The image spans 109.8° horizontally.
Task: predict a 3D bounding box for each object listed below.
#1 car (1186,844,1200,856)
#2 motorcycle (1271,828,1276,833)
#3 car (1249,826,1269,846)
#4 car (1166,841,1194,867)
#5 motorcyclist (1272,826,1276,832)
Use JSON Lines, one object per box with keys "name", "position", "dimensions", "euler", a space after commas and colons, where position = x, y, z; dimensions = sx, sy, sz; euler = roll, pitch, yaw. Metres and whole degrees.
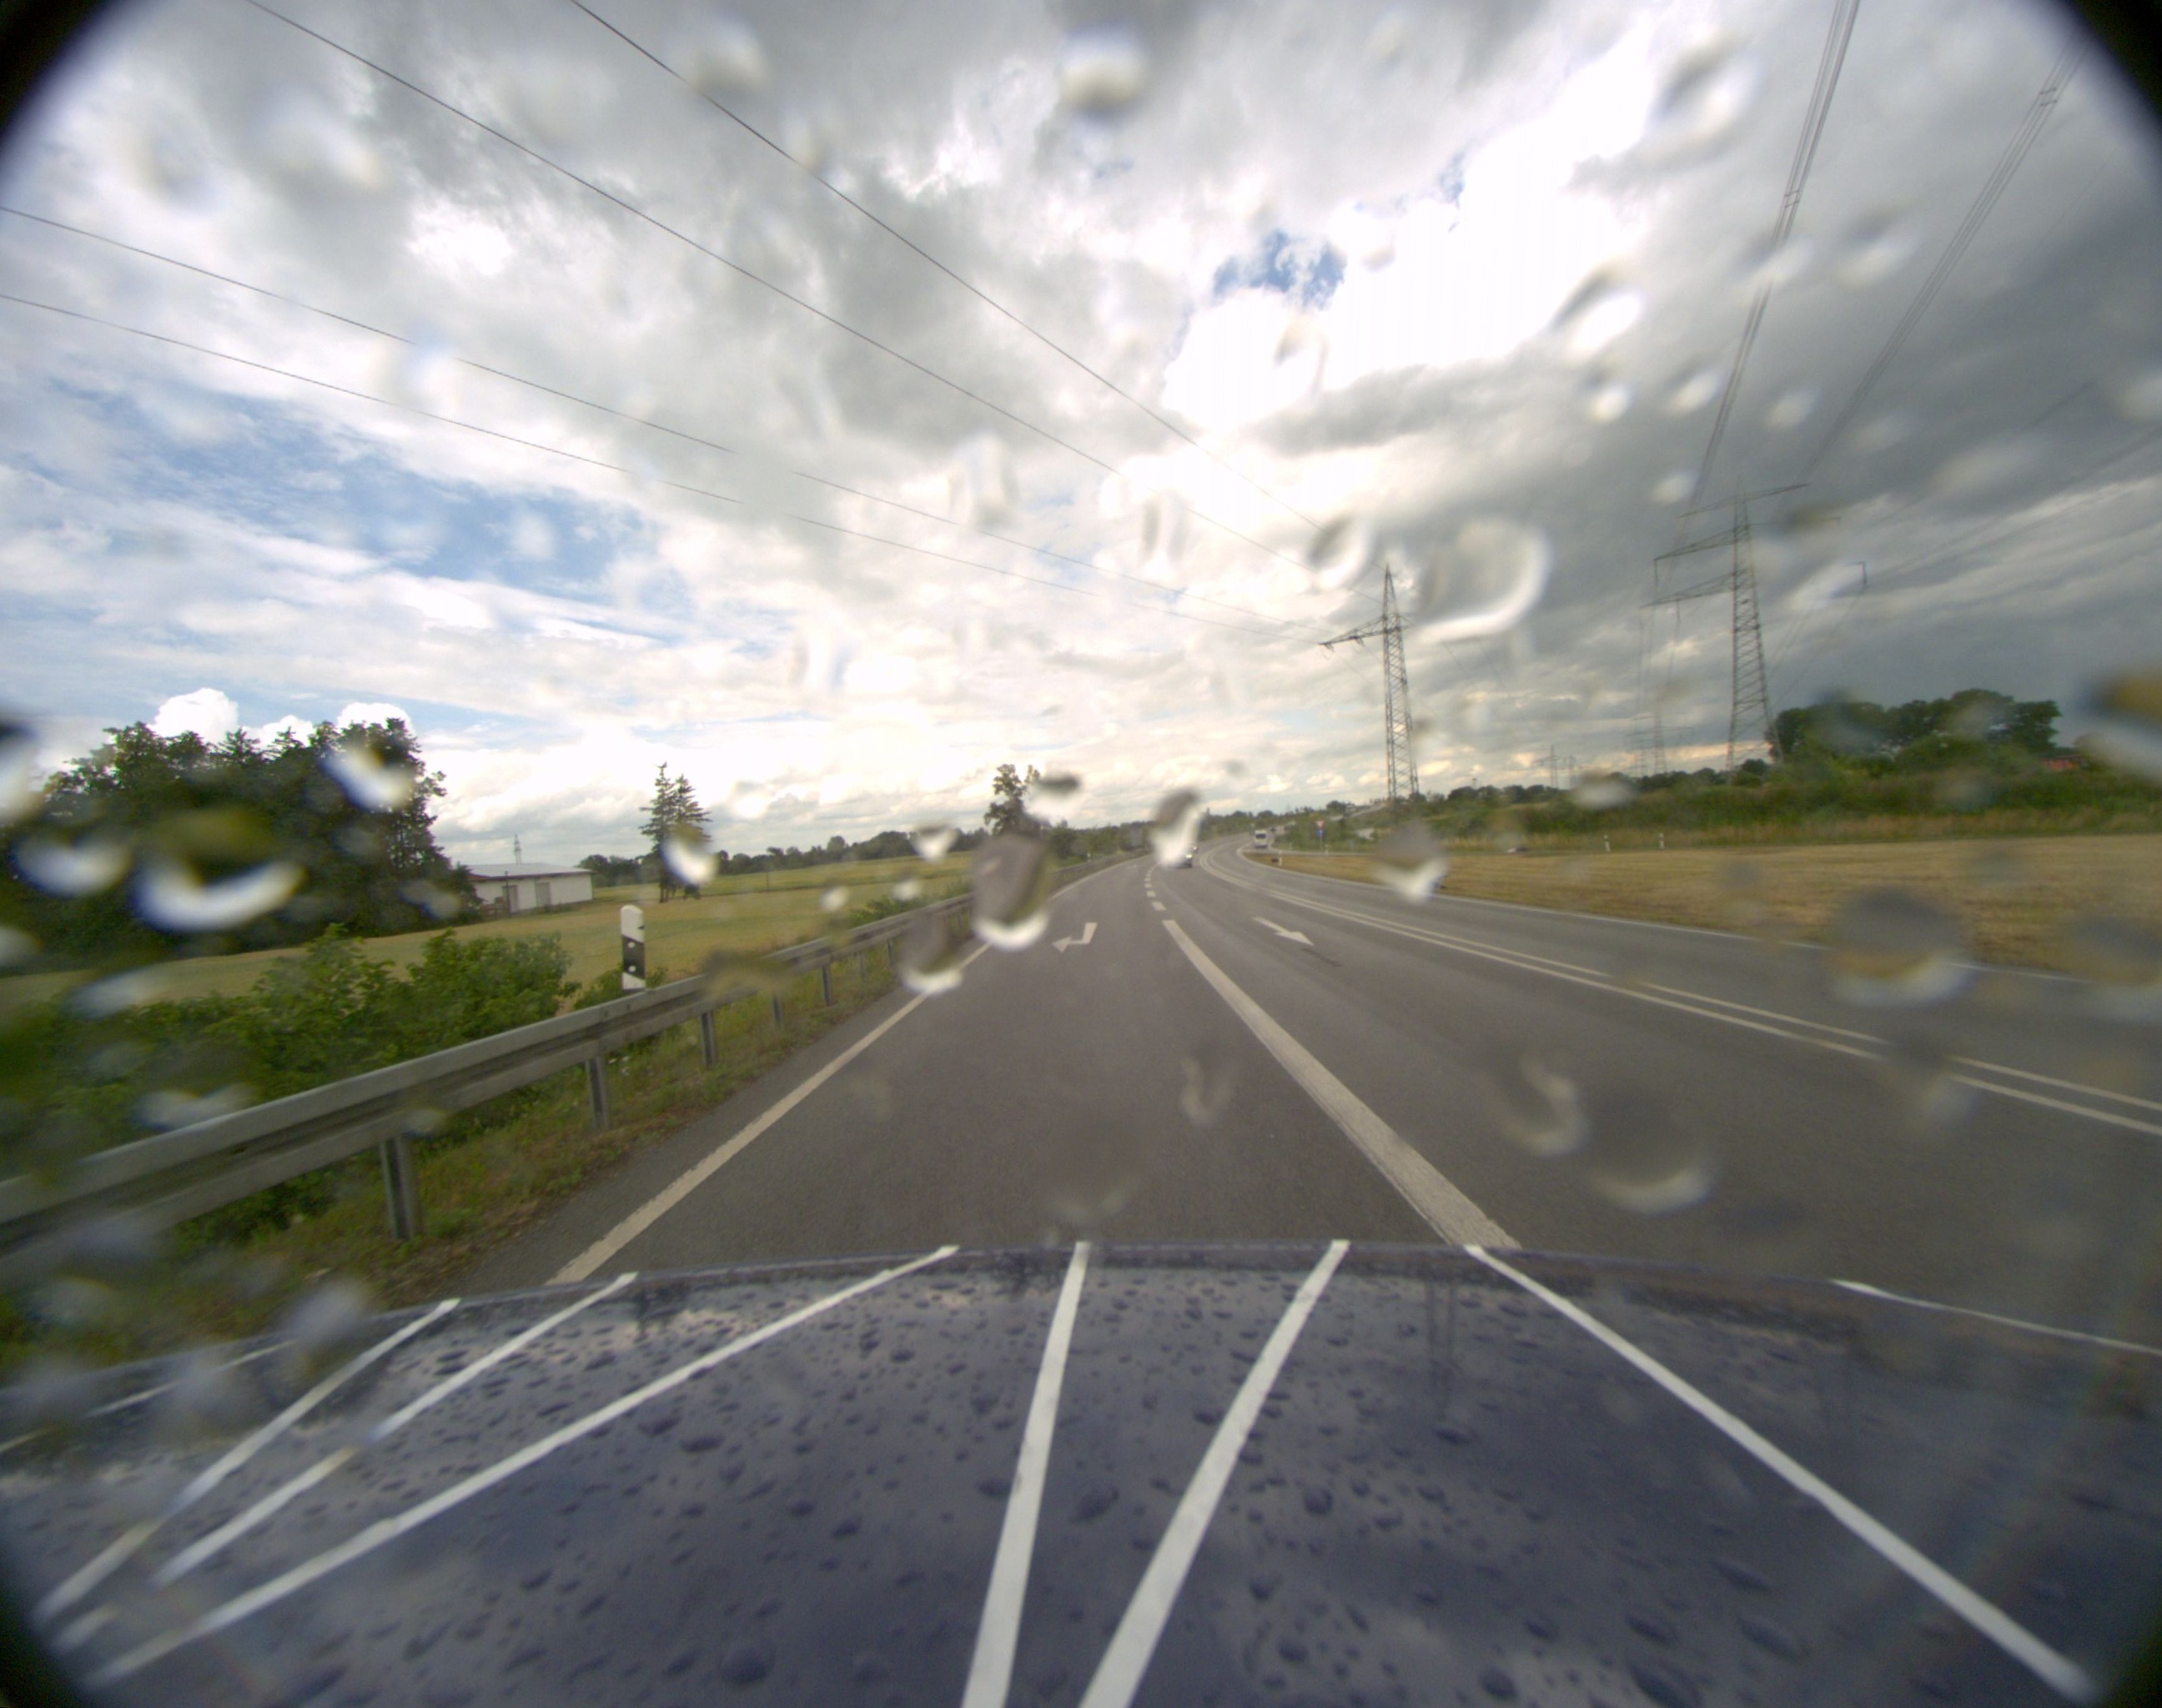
{"name": "car", "position": [14.991, -0.559, 101.848], "dimensions": [1.747, 1.488, 4.051], "euler": [-3, 1, 9]}
{"name": "motorcycle", "position": [48.287, -5.882, 190.362], "dimensions": [0.803, 1.231, 2.188], "euler": [-2, 1, 21]}
{"name": "car", "position": [26.747, -2.710, 114.147], "dimensions": [2.211, 2.734, 6.023], "euler": [-3, 2, 8]}
{"name": "car", "position": [7.444, -0.063, 57.419], "dimensions": [1.795, 1.759, 4.000], "euler": [-3, 1, 5]}
{"name": "motorcyclist", "position": [48.247, -6.319, 190.316], "dimensions": [0.803, 1.526, 0.825], "euler": [-2, 2, 21]}
